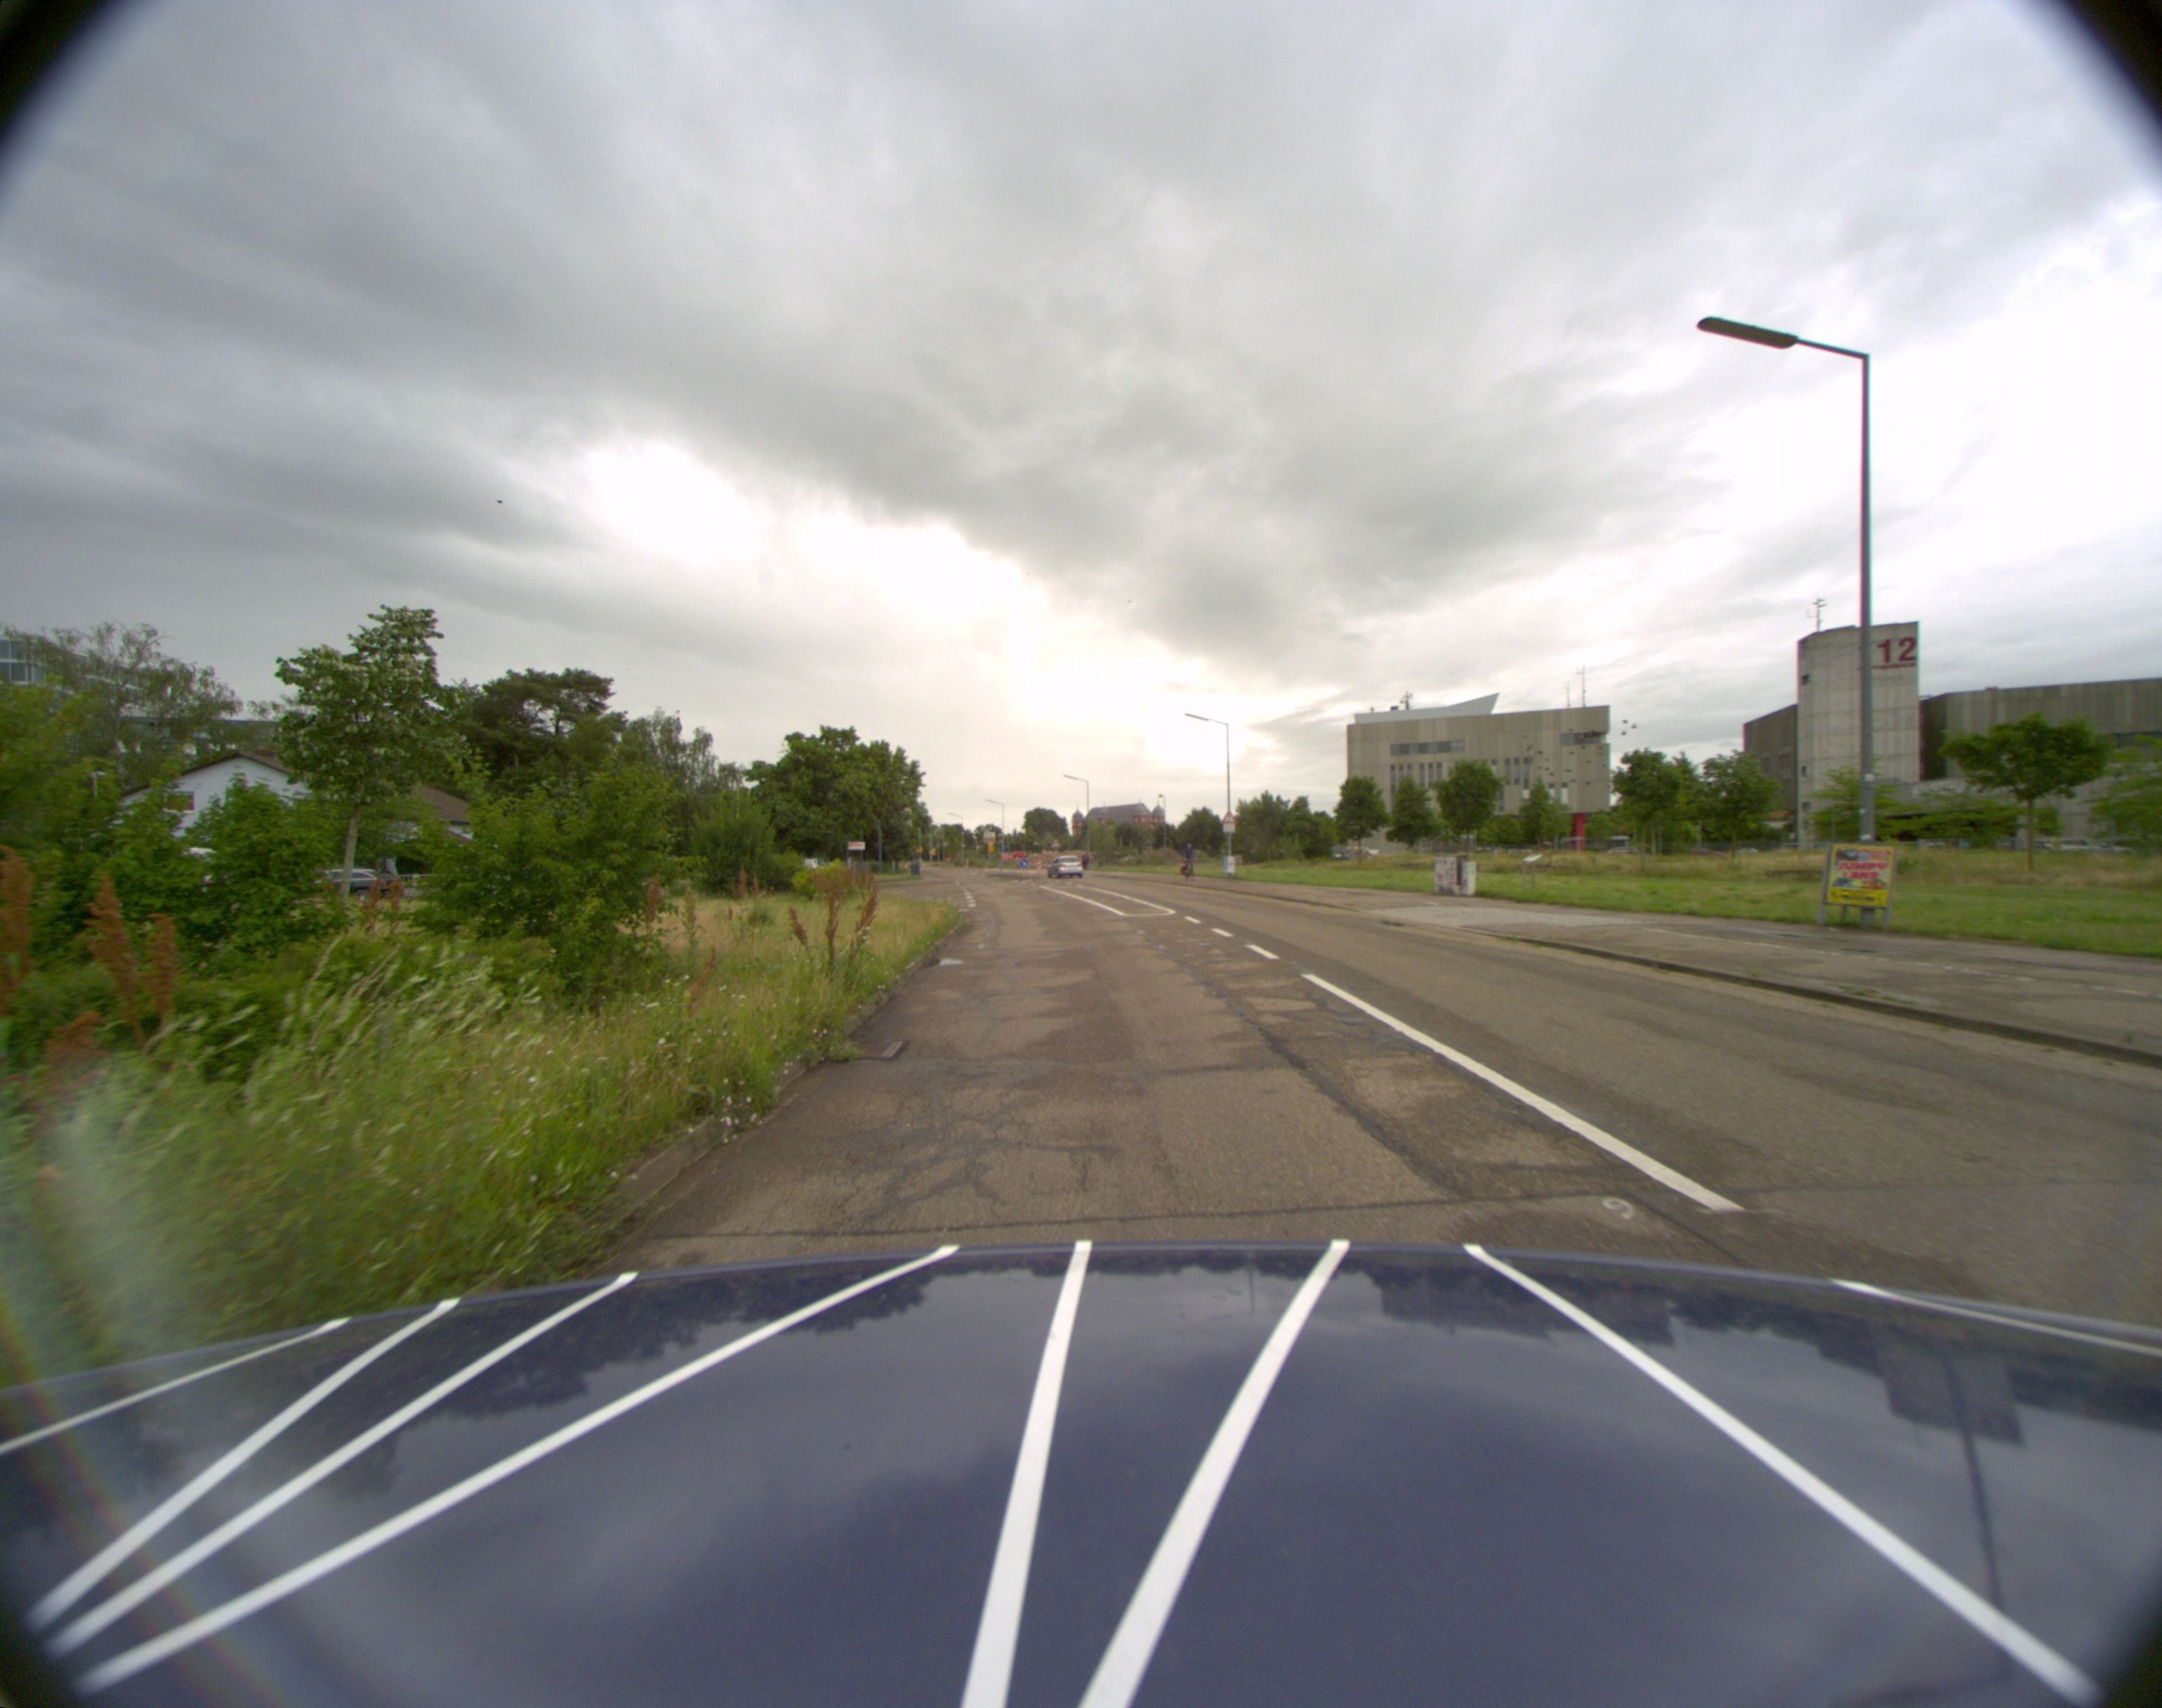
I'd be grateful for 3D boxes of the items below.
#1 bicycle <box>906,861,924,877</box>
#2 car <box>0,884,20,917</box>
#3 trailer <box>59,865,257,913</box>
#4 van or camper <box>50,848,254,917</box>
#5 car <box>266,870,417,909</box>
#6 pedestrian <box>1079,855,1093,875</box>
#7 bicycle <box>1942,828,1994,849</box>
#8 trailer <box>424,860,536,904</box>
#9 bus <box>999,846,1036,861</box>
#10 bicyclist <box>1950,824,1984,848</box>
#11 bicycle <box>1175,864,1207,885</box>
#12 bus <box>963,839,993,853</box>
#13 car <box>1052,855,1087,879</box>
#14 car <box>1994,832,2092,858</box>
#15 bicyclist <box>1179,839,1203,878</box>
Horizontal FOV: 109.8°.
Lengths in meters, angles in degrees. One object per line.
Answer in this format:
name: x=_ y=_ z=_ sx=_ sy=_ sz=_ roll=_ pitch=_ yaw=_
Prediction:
bicycle: x=-12.438 y=1.114 z=57.025 sx=0.797 sy=1.104 sz=1.953 roll=-1 pitch=0 yaw=5
car: x=-47.306 y=1.981 z=31.021 sx=4.294 sy=1.377 sz=1.910 roll=-1 pitch=0 yaw=-19
trailer: x=-32.614 y=1.210 z=27.005 sx=4.124 sy=1.523 sz=1.755 roll=-1 pitch=-1 yaw=-21
van or camper: x=-40.666 y=1.195 z=33.473 sx=5.183 sy=2.815 sz=2.413 roll=-1 pitch=-1 yaw=-17
car: x=-34.301 y=1.622 z=35.412 sx=4.597 sy=1.630 sz=1.997 roll=-1 pitch=-1 yaw=-19
pedestrian: x=0.445 y=1.031 z=69.507 sx=0.847 sy=1.772 sz=1.075 roll=-1 pitch=-1 yaw=-22
bicycle: x=71.283 y=-1.215 z=61.092 sx=2.494 sy=1.574 sz=1.088 roll=-1 pitch=-1 yaw=22
trailer: x=-29.574 y=1.354 z=37.504 sx=4.003 sy=2.001 sz=1.641 roll=-1 pitch=-1 yaw=-19
bus: x=-17.254 y=-0.117 z=205.961 sx=9.865 sy=3.958 sz=2.740 roll=-2 pitch=-1 yaw=28
bicyclist: x=71.261 y=-1.442 z=61.117 sx=1.399 sy=1.888 sz=1.079 roll=-1 pitch=-1 yaw=21
bicycle: x=5.657 y=1.040 z=39.173 sx=0.887 sy=1.046 sz=2.467 roll=-1 pitch=-1 yaw=-10
bus: x=-28.563 y=-2.108 z=211.384 sx=8.376 sy=3.626 sz=2.740 roll=-2 pitch=-1 yaw=33
car: x=-0.798 y=0.867 z=51.800 sx=1.677 sy=1.453 sz=4.053 roll=-3 pitch=0 yaw=-10
car: x=61.497 y=-0.532 z=48.669 sx=1.996 sy=1.514 sz=4.006 roll=0 pitch=-1 yaw=18
bicyclist: x=5.652 y=0.241 z=39.166 sx=0.864 sy=2.001 sz=1.176 roll=-1 pitch=-1 yaw=-11
